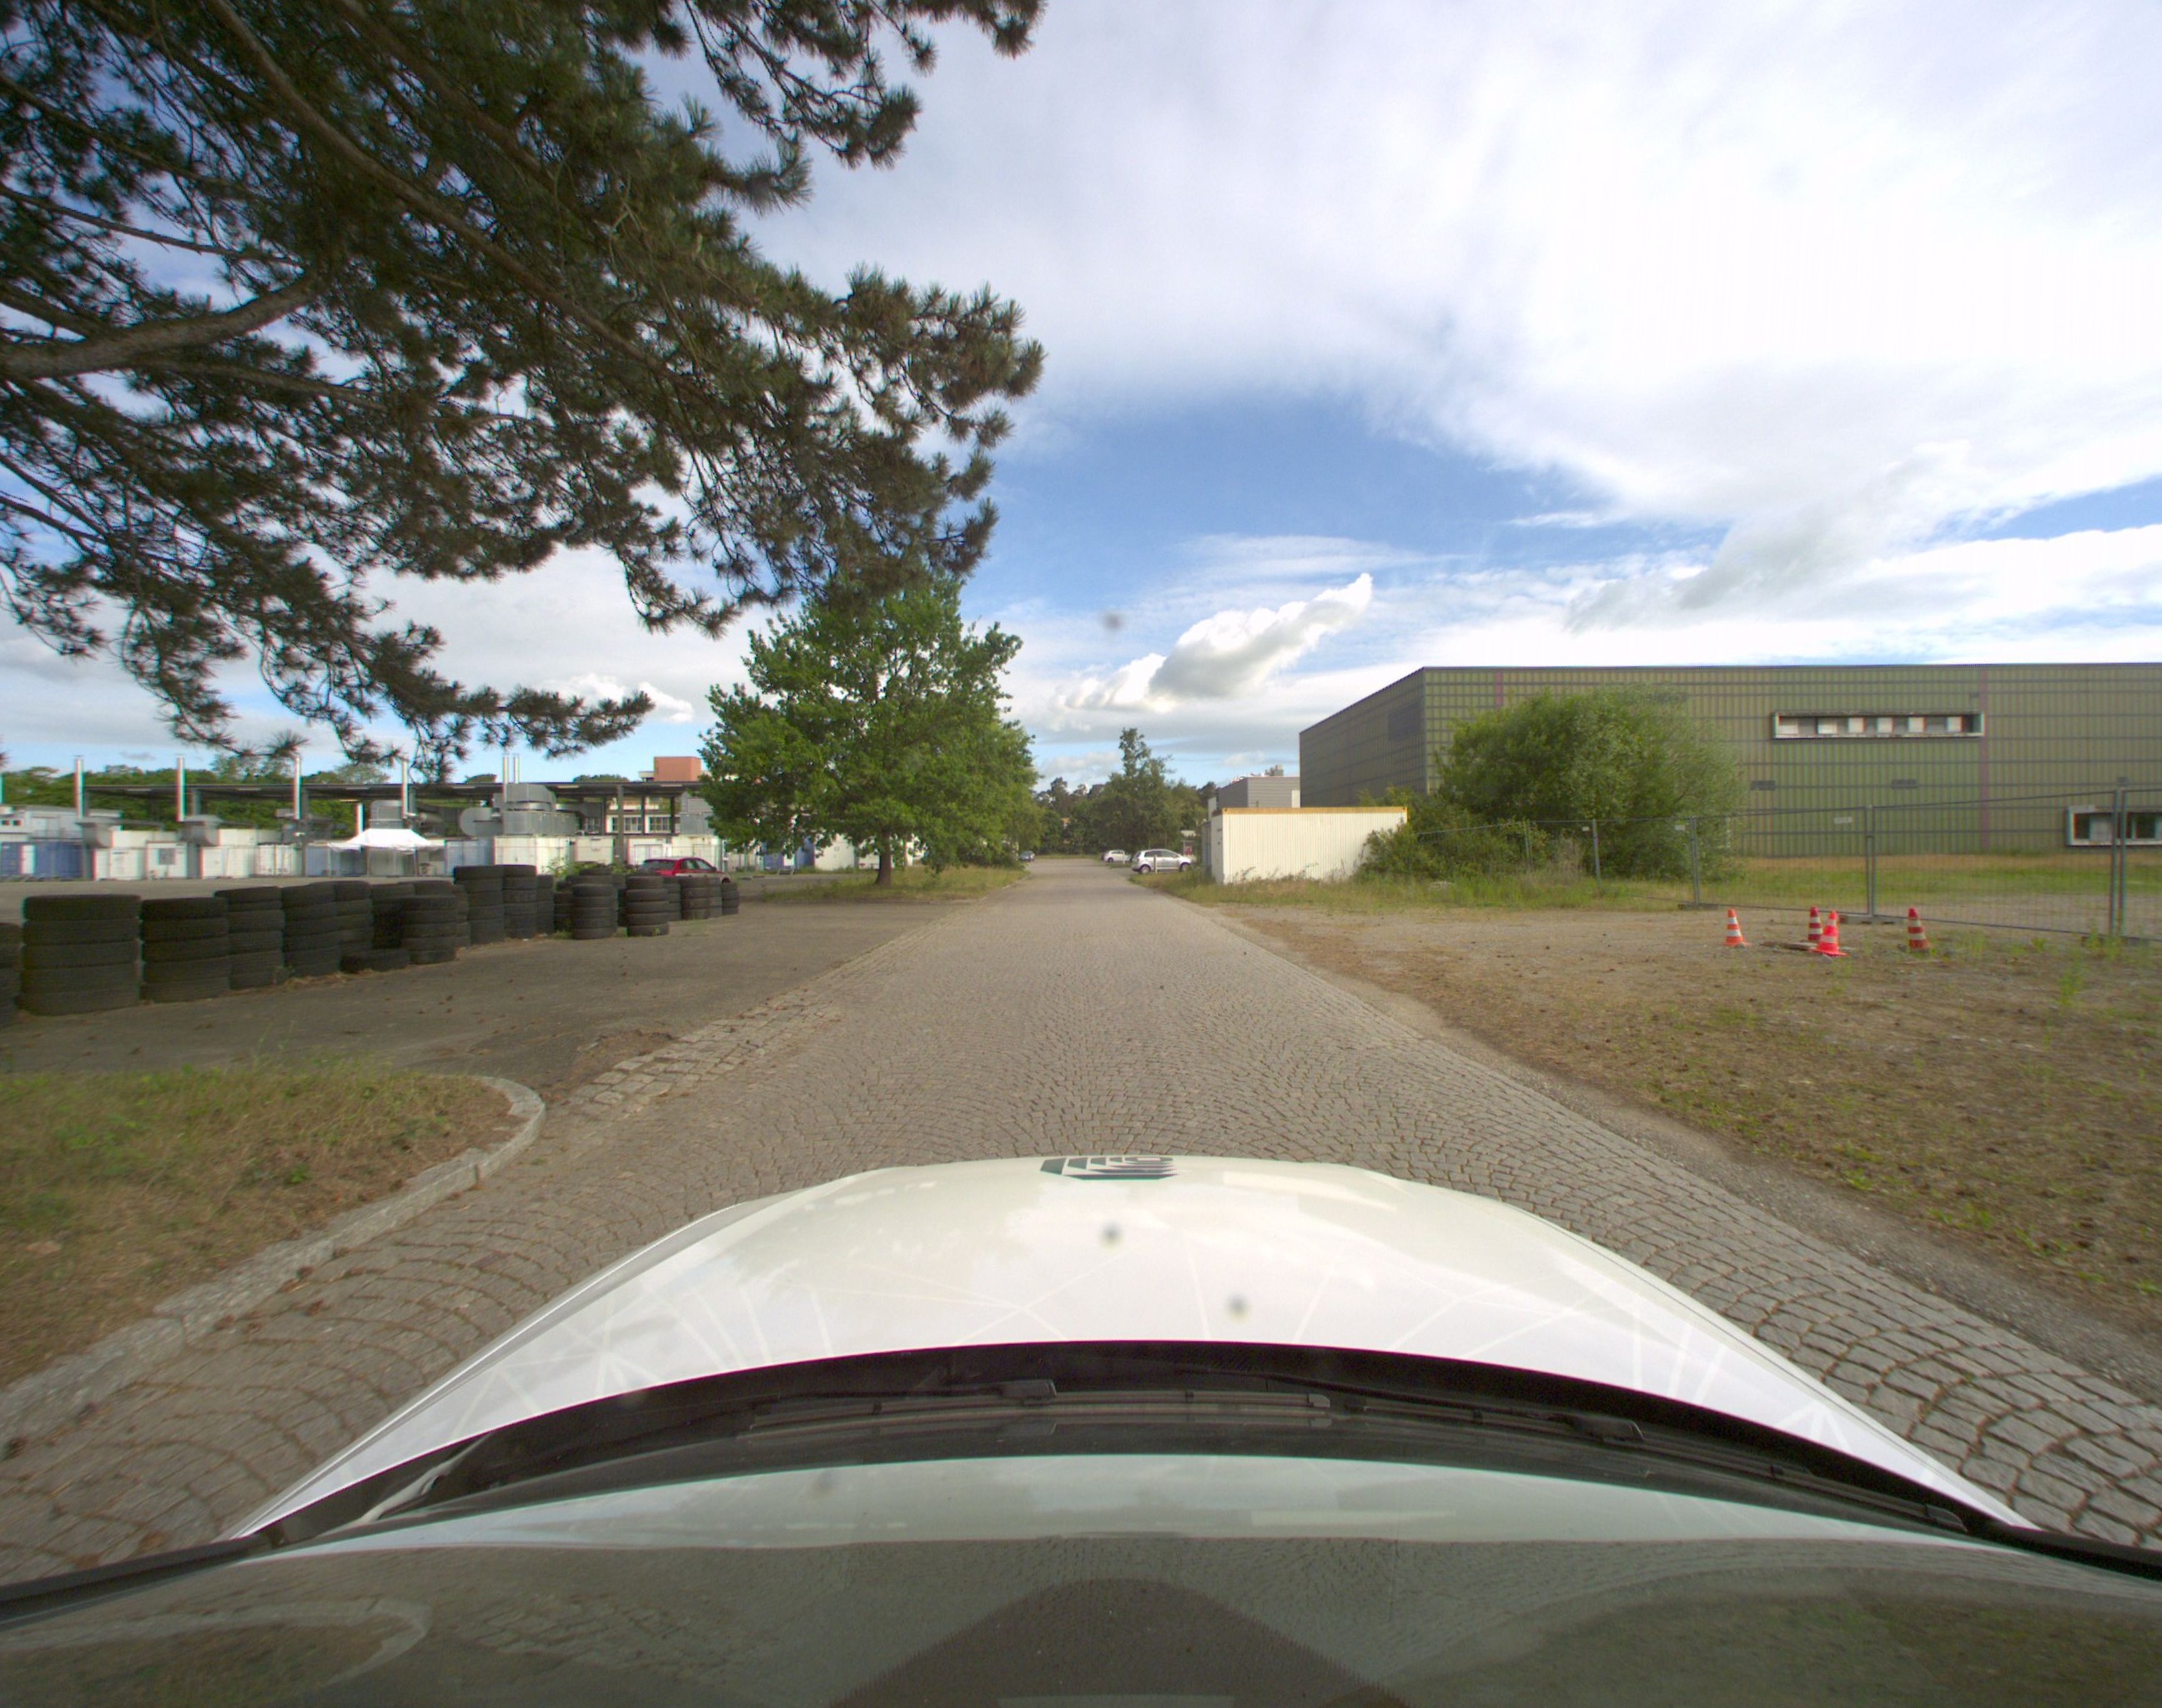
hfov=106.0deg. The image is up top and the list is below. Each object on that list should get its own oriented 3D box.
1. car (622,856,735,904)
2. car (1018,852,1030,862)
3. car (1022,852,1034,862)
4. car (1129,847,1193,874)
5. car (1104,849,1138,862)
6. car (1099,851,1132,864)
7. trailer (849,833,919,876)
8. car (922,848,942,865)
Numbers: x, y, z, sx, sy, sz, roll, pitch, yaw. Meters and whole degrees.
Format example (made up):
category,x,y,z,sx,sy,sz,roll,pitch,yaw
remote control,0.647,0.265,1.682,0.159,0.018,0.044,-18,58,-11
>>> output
category,x,y,z,sx,sy,sz,roll,pitch,yaw
car,-13.217,0.819,26.959,1.758,1.453,3.493,-1,0,5
car,-8.184,0.439,116.923,1.731,1.469,4.041,-1,0,-3
car,-8.184,0.401,126.279,1.800,1.535,3.996,-1,0,-3
car,5.098,0.414,52.049,3.841,1.654,1.684,-1,0,-4
car,4.752,0.200,98.187,4.012,1.502,1.548,-1,0,0
car,4.365,0.442,103.730,3.979,1.601,1.727,-1,0,-4
trailer,-15.335,0.018,64.220,3.147,3.067,8.786,-1,0,1
car,-19.104,0.330,104.642,1.921,2.047,4.595,-1,0,-3
